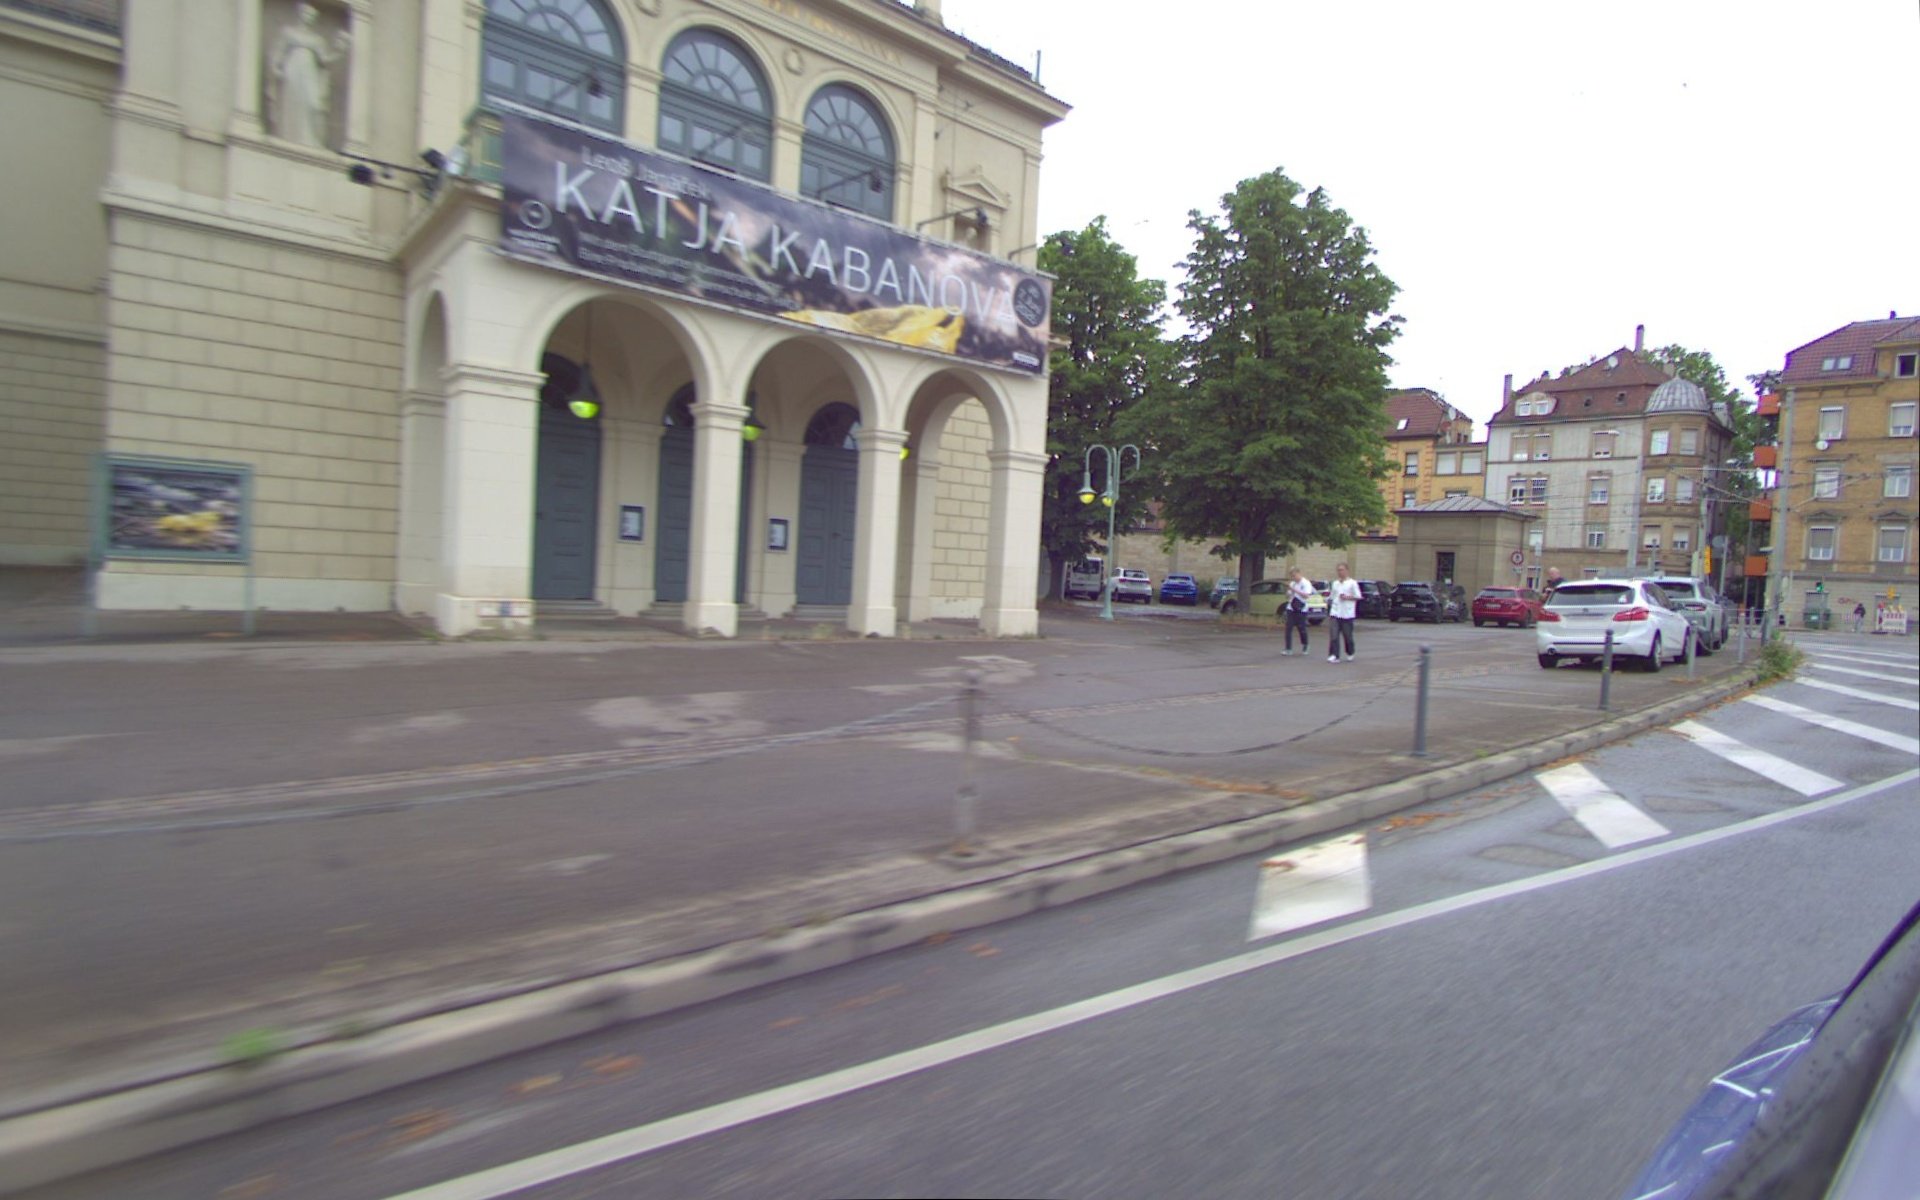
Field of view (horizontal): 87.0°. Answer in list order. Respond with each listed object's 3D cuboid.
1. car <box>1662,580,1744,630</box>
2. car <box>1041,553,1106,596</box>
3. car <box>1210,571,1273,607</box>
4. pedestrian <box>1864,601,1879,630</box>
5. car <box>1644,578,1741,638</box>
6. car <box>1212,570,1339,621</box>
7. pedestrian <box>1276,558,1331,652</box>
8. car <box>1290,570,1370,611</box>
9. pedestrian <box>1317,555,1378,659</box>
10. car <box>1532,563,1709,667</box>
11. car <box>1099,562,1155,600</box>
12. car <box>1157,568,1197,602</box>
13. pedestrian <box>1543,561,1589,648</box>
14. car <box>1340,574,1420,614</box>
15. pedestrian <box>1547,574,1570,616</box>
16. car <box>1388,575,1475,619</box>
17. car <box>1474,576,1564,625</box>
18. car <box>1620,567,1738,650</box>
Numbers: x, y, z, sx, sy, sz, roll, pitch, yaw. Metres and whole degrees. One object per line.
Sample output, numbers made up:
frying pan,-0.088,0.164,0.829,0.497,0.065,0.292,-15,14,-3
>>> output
car,23.486,0.160,31.938,1.836,1.482,4.082,0,-1,40
car,5.275,-1.241,47.630,1.793,1.858,4.010,2,3,-12
car,12.932,-0.537,46.392,1.710,1.459,3.956,4,3,31
pedestrian,53.373,0.924,59.269,0.525,1.674,0.511,0,3,-42
car,19.744,0.173,27.218,1.836,1.482,4.083,0,0,40
car,10.553,-0.186,34.007,1.696,1.487,3.746,0,3,-37
pedestrian,6.383,0.078,18.788,0.627,1.664,0.768,4,3,44
car,16.100,-0.432,43.939,1.826,1.602,3.938,5,4,43
pedestrian,6.781,0.110,17.710,0.824,1.757,0.595,0,3,-42
car,12.014,0.225,18.303,4.074,1.660,1.840,0,0,-44
car,7.844,-0.951,47.778,1.649,1.601,4.006,2,3,-4
car,10.288,-0.740,48.127,1.677,1.412,3.989,3,3,10
pedestrian,13.065,0.079,21.823,0.695,1.829,0.770,2,2,41
car,17.400,-0.272,41.814,1.678,1.515,3.937,5,4,44
pedestrian,25.906,-0.211,43.796,0.697,1.762,0.453,1,3,-28
car,18.398,-0.152,39.394,1.859,1.567,4.002,3,3,44
car,20.392,-0.015,36.874,1.827,1.602,3.936,5,4,44
car,15.899,0.140,22.303,1.714,1.660,4.081,0,1,41
